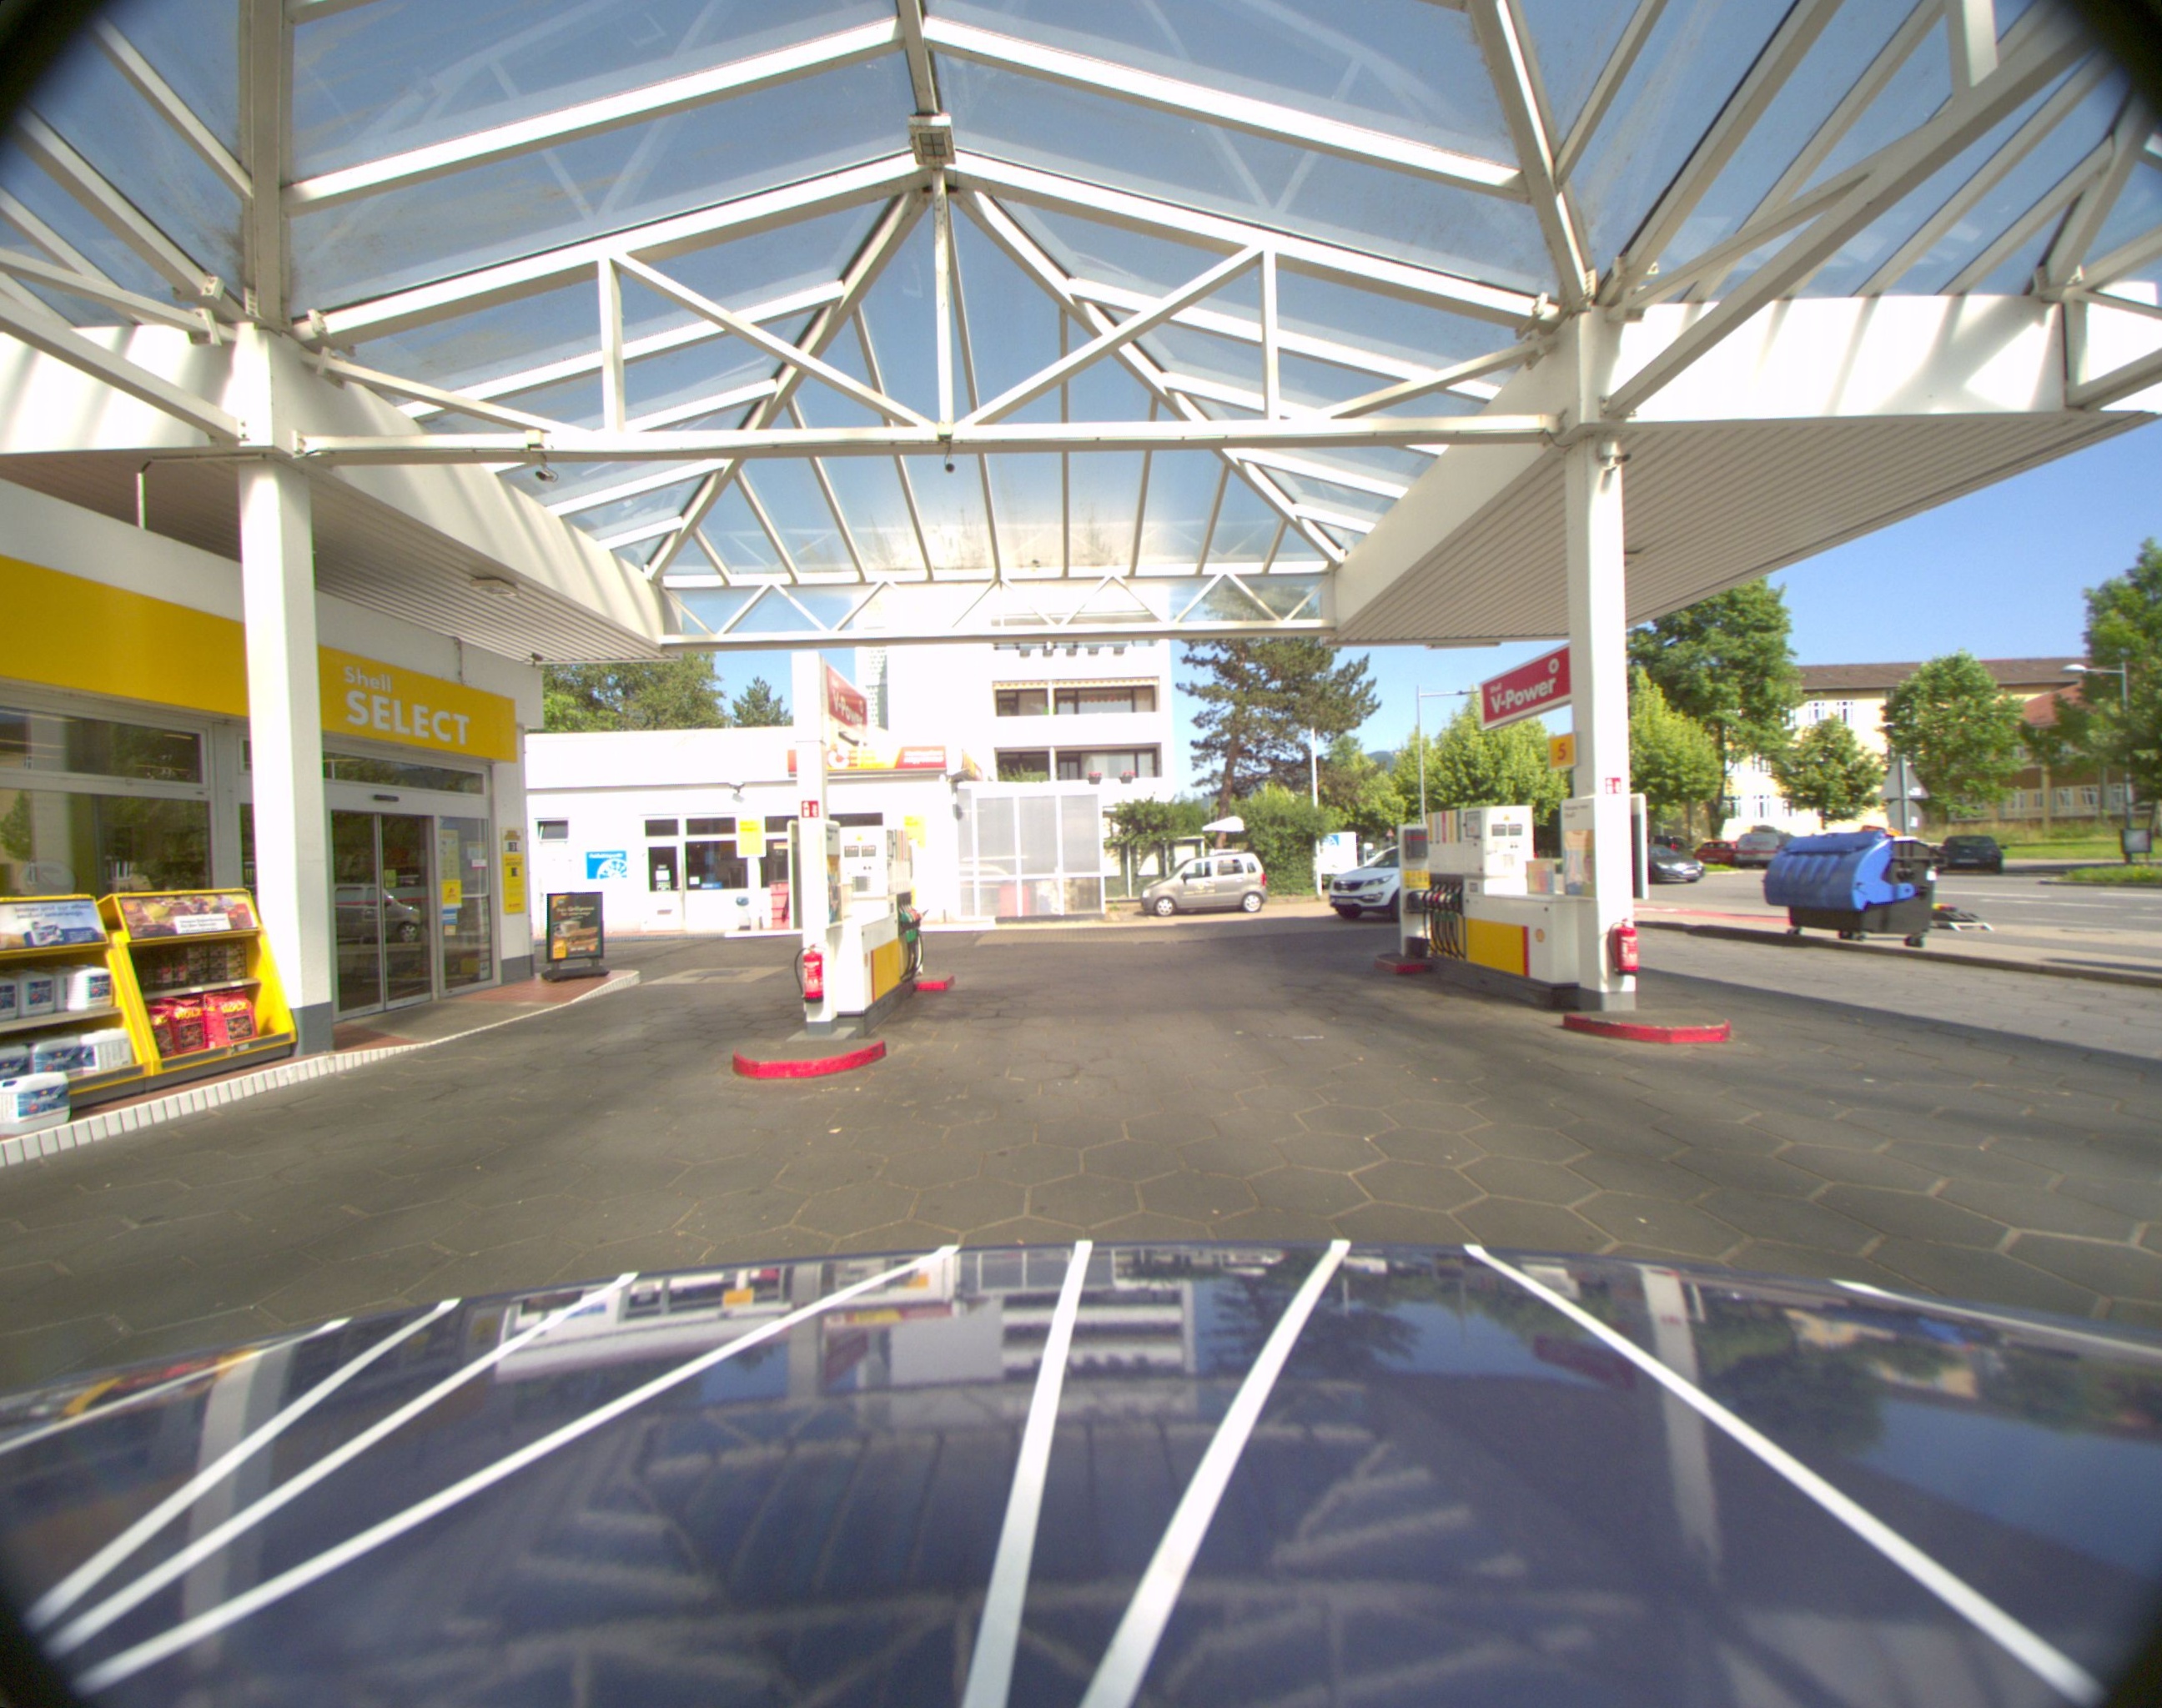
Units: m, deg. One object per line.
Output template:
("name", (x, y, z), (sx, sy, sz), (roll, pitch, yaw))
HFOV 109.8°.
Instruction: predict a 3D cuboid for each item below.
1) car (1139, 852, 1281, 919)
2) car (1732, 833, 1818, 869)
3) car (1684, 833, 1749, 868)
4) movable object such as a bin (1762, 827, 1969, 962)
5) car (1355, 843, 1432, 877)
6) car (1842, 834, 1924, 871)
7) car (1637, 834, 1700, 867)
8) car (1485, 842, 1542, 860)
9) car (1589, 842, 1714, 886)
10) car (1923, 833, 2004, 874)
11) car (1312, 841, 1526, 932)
("car", (3.541, 0.855, 21.340), (3.659, 1.608, 1.692), (-3, 1, 1))
("car", (34.049, -0.165, 37.251), (4.232, 1.712, 1.877), (-1, 1, -30))
("car", (33.619, -0.198, 40.141), (4.234, 1.712, 1.876), (-1, 1, -40))
("movable object such as a bin", (10.343, 0.501, 10.109), (1.342, 1.678, 1.337), (0, 1, 0))
("car", (17.244, 0.297, 41.903), (4.411, 1.710, 1.700), (-1, 1, -33))
("car", (33.984, -0.079, 32.183), (4.234, 1.451, 1.876), (-1, 1, -37))
("car", (32.353, -0.218, 41.807), (4.234, 1.712, 1.876), (-1, 1, -40))
("car", (33.578, -0.250, 59.038), (3.730, 1.383, 1.878), (0, 1, -19))
("car", (21.624, 0.329, 29.034), (1.568, 1.459, 4.378), (-3, 1, 2))
("car", (34.060, -0.024, 29.293), (4.234, 1.451, 1.737), (0, 0, -37))
("car", (7.447, 0.634, 16.704), (4.313, 1.696, 1.958), (-2, 0, -27))
